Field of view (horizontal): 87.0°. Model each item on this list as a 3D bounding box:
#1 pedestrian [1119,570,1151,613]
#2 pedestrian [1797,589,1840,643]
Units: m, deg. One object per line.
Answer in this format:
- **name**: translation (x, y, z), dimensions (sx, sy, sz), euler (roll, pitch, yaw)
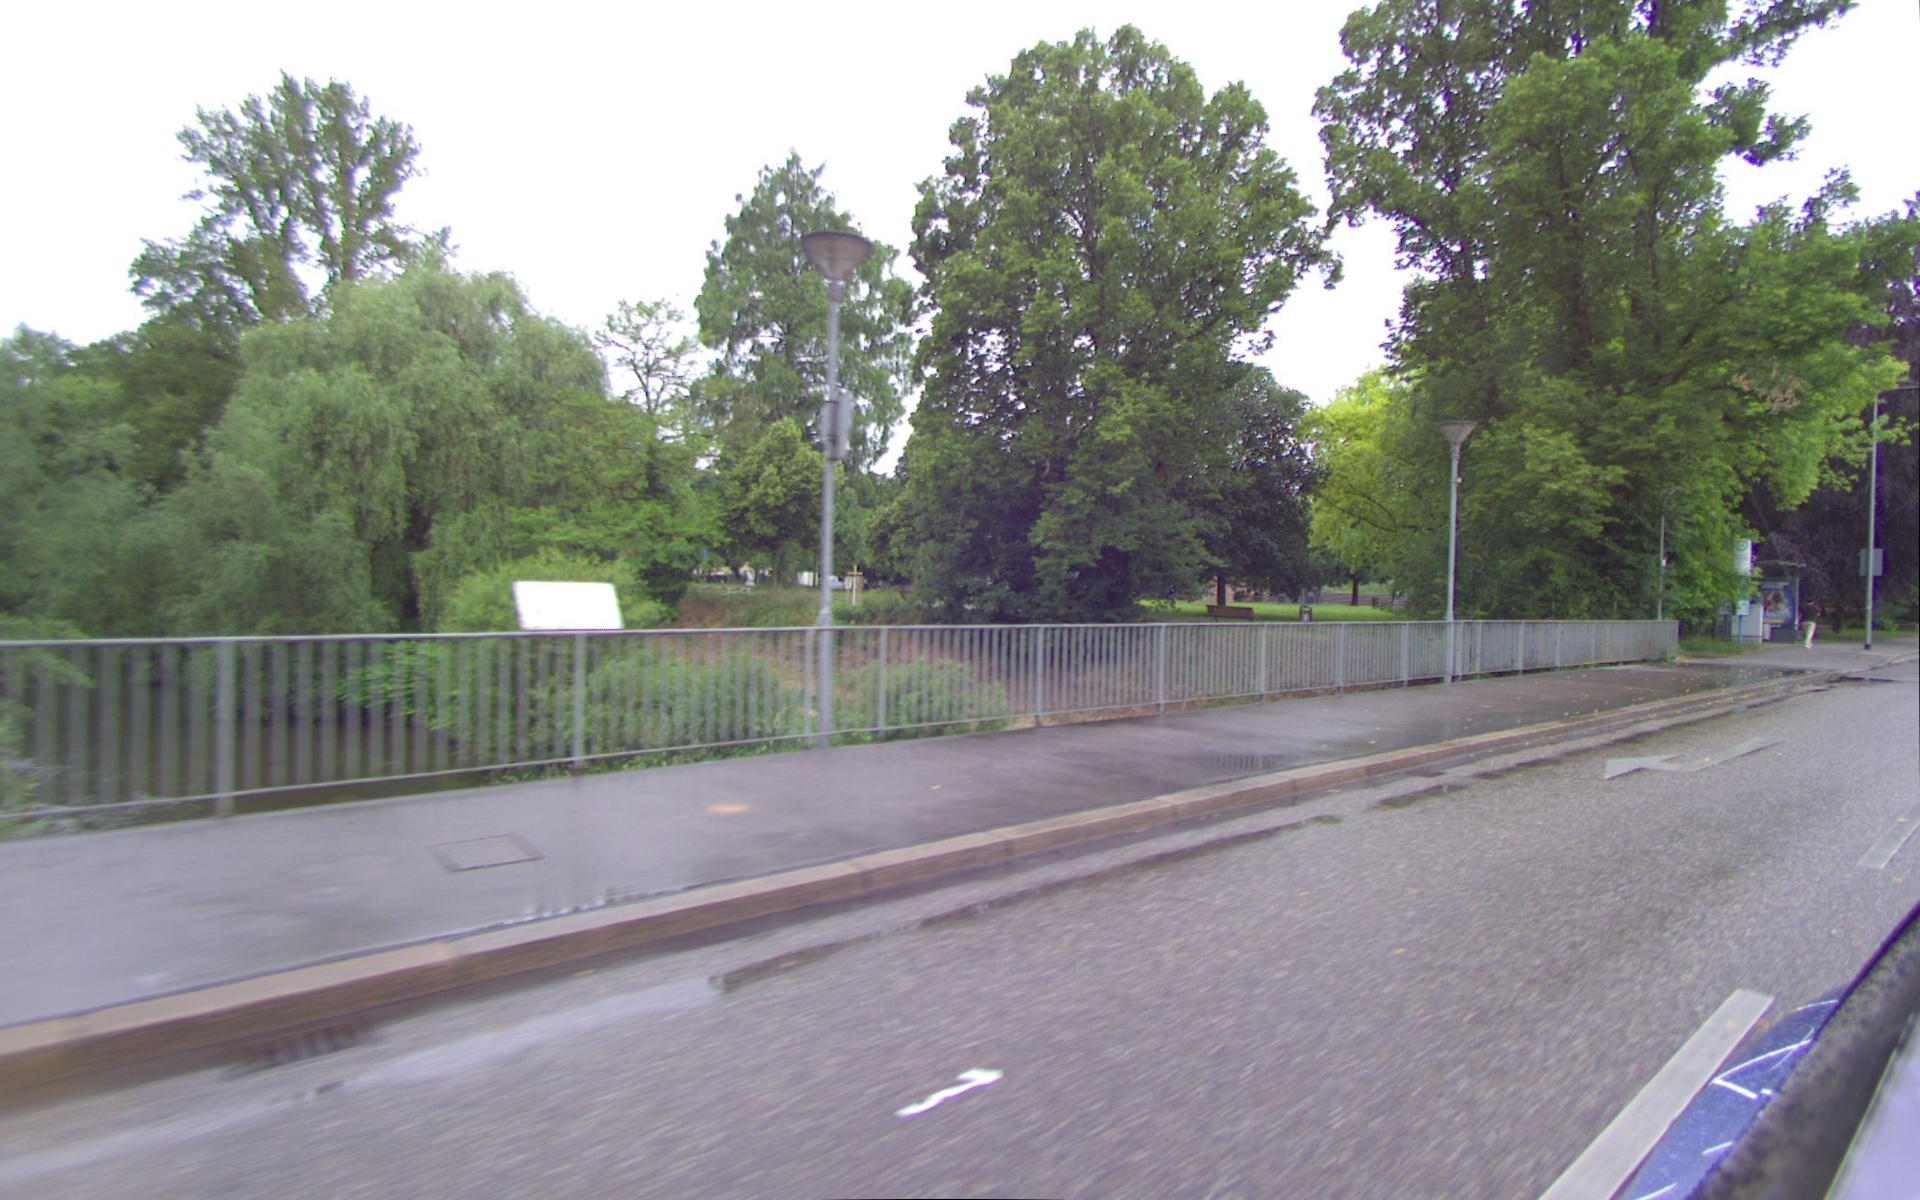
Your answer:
- **pedestrian**: translation (7.250, -0.358, 41.975), dimensions (1.058, 1.774, 0.769), euler (2, 1, 45)
- **pedestrian**: translation (28.225, 0.521, 33.265), dimensions (1.147, 1.696, 0.849), euler (0, 3, -41)
